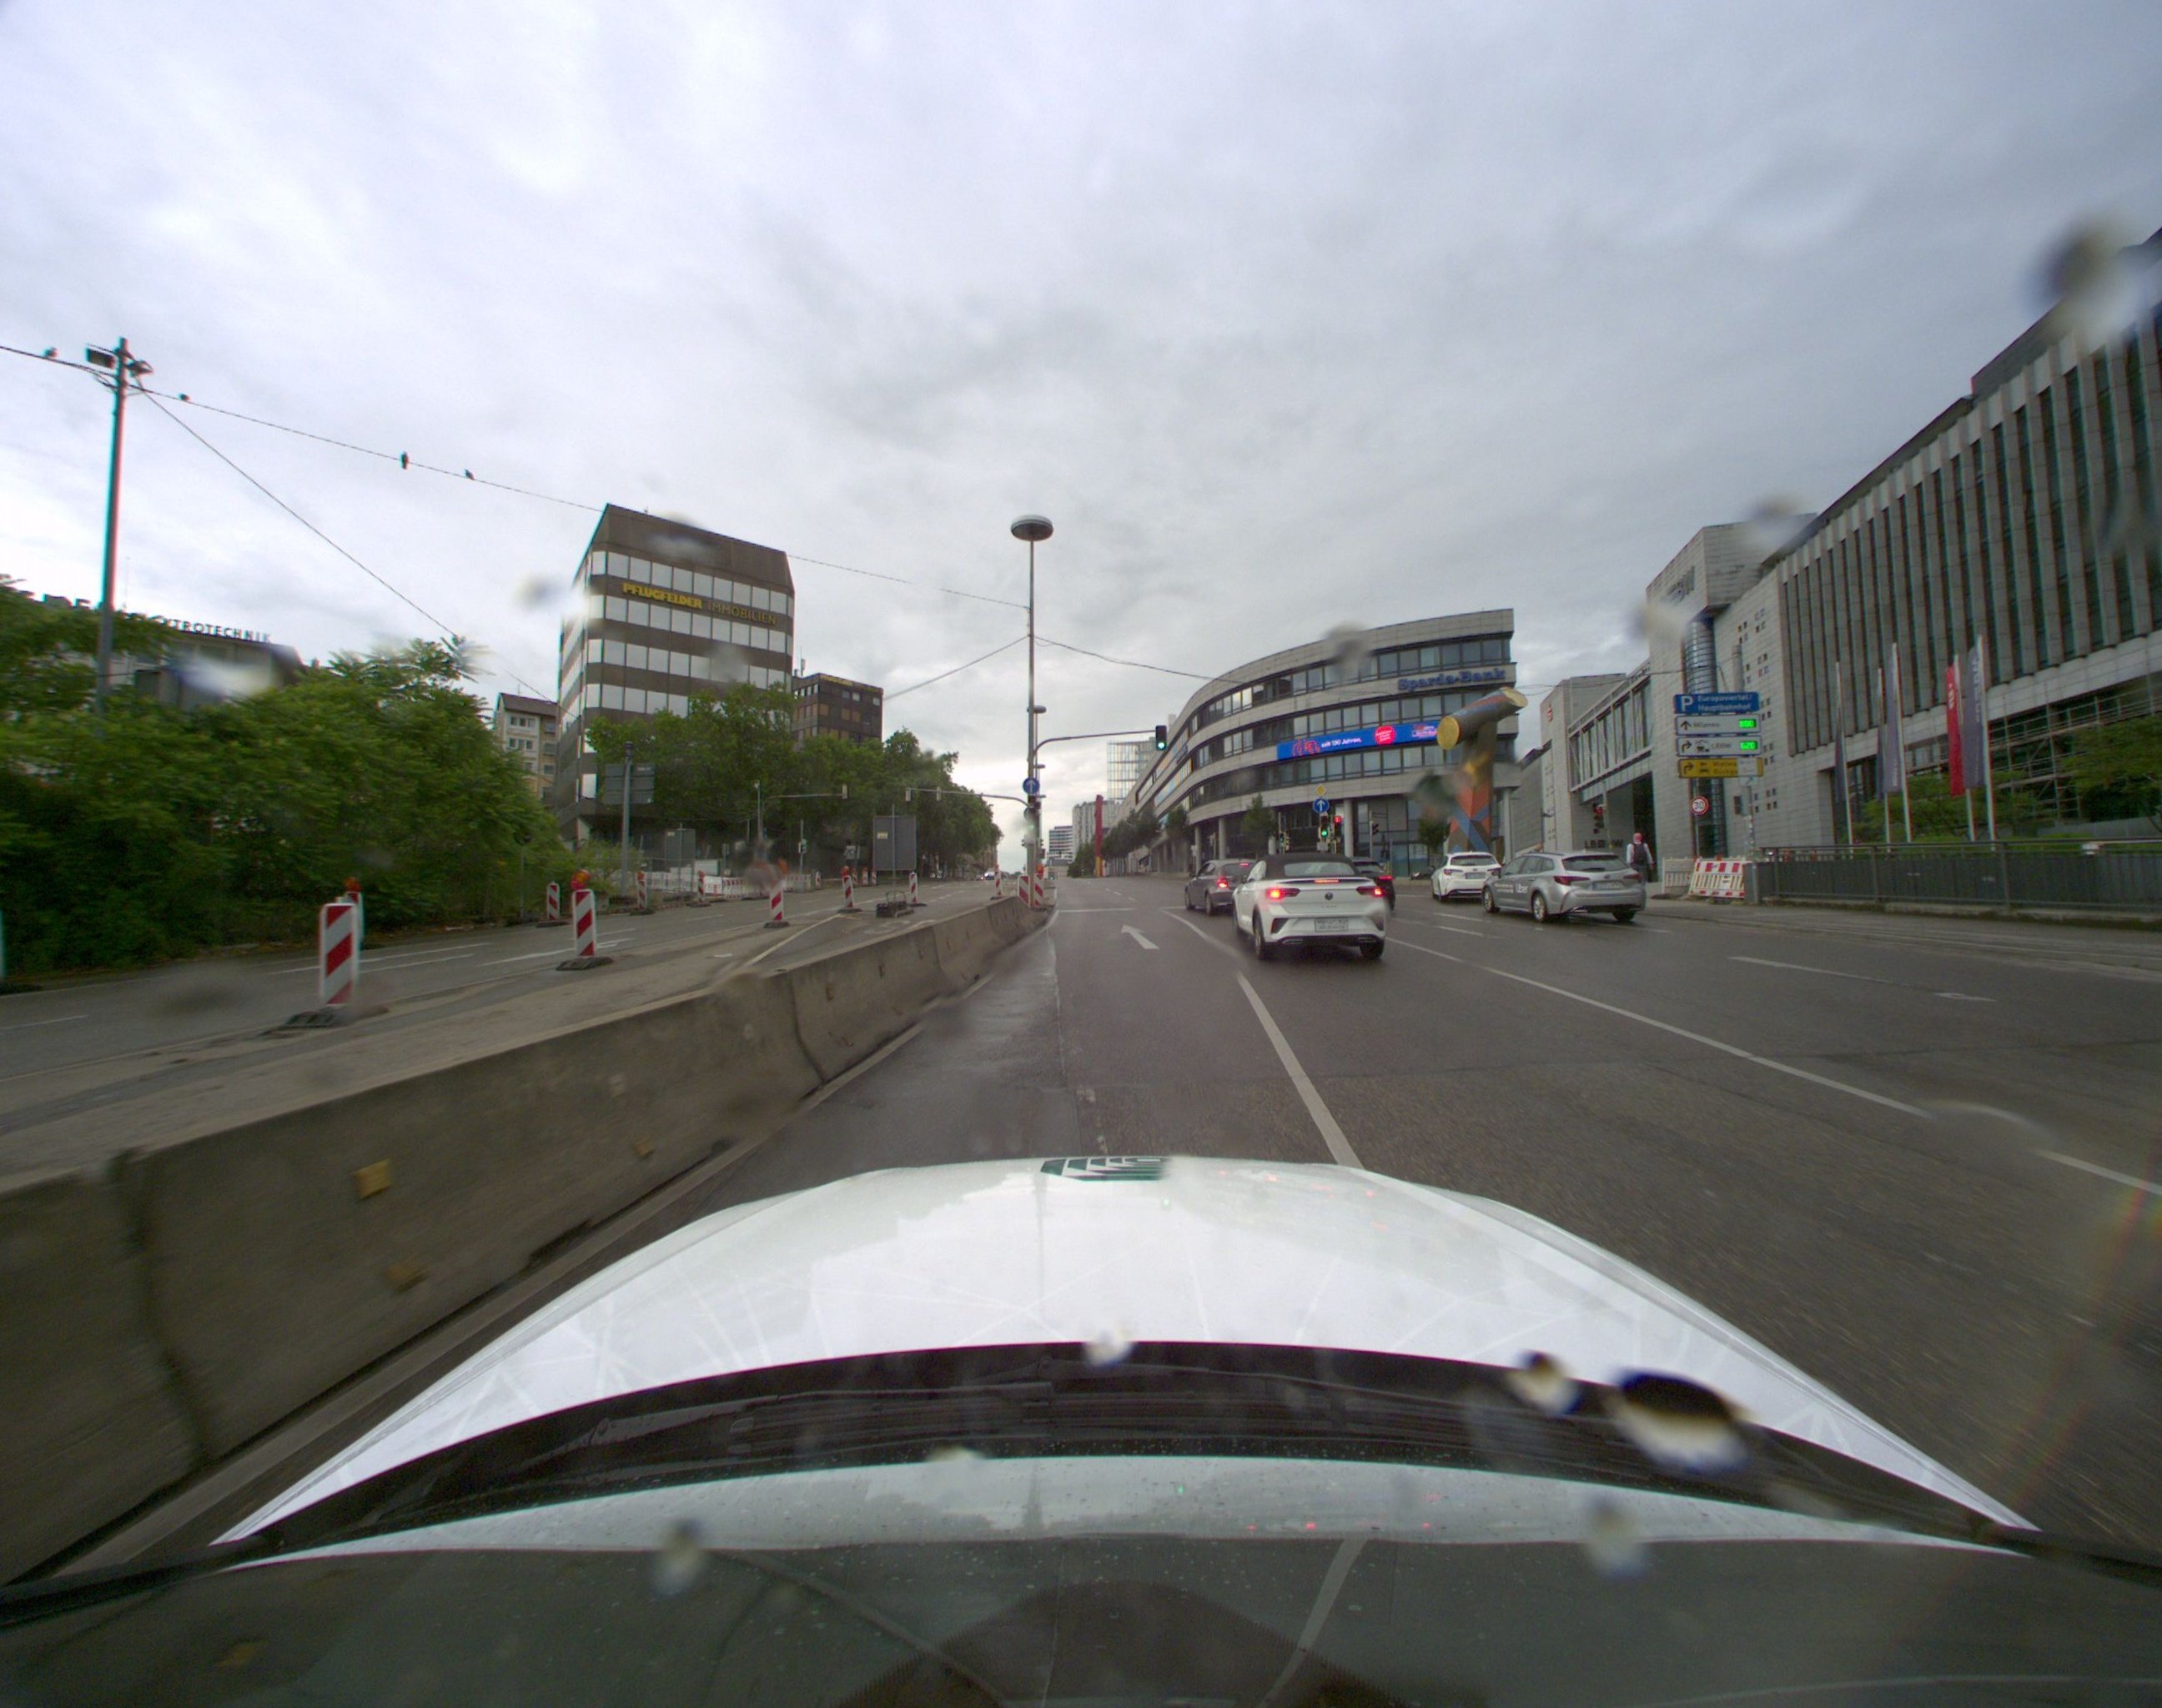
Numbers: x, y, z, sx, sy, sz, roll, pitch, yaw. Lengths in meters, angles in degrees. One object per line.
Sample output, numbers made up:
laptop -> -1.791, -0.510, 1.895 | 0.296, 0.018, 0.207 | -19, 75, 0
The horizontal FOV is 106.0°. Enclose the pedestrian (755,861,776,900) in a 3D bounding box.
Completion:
pedestrian -> -15.588, 1.333, 40.260 | 0.670, 1.902, 0.775 | -1, -3, 1

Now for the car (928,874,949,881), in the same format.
car -> -31.118, 5.140, 178.276 | 1.801, 1.511, 4.607 | -5, -4, 36

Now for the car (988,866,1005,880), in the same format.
car -> -10.059, 2.254, 97.287 | 1.757, 1.461, 4.355 | -2, -1, -2

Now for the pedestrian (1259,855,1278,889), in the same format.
pedestrian -> 10.762, 1.053, 46.718 | 0.833, 1.905, 0.866 | -2, -4, 24

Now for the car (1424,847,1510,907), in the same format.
car -> 11.508, 0.651, 24.540 | 1.757, 1.634, 4.602 | -1, -1, 18

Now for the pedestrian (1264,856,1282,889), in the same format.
pedestrian -> 11.208, 1.090, 47.625 | 0.833, 1.905, 0.736 | -2, -2, 24

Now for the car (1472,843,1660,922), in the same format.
car -> 10.174, 0.575, 17.542 | 1.692, 1.451, 4.623 | -1, -1, 6

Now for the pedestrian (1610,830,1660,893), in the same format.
pedestrian -> 15.372, 0.224, 22.627 | 0.728, 1.711, 0.842 | -1, -3, -2

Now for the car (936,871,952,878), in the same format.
car -> -34.542, 5.190, 205.197 | 3.623, 1.701, 1.821 | -2, -3, -6

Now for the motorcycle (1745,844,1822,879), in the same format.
motorcycle -> 25.925, 0.281, 30.065 | 2.563, 1.081, 0.633 | -4, 0, -10

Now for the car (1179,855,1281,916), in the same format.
car -> 3.878, 0.797, 21.822 | 1.736, 1.443, 3.993 | -1, -1, -4

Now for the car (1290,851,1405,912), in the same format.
car -> 6.863, 0.721, 21.408 | 1.748, 1.407, 4.228 | 1, -2, 1

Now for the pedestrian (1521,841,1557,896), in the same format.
pedestrian -> 17.675, 0.553, 31.427 | 0.856, 2.099, 0.897 | 2, -2, -25

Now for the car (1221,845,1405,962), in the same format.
car -> 3.487, 0.692, 13.107 | 1.956, 1.549, 4.222 | -1, -1, 3

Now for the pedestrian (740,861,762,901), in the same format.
pedestrian -> -16.327, 1.338, 40.279 | 0.758, 1.923, 0.742 | -1, -3, 0

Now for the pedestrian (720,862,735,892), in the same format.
pedestrian -> -22.696, 1.494, 52.315 | 0.741, 1.880, 0.744 | 0, -3, -12

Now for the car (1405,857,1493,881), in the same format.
car -> 23.140, 0.951, 51.355 | 4.670, 1.442, 1.871 | -1, -3, 9

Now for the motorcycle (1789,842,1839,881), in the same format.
motorcycle -> 25.199, 0.250, 28.010 | 1.241, 1.270, 0.618 | -2, -1, -10
